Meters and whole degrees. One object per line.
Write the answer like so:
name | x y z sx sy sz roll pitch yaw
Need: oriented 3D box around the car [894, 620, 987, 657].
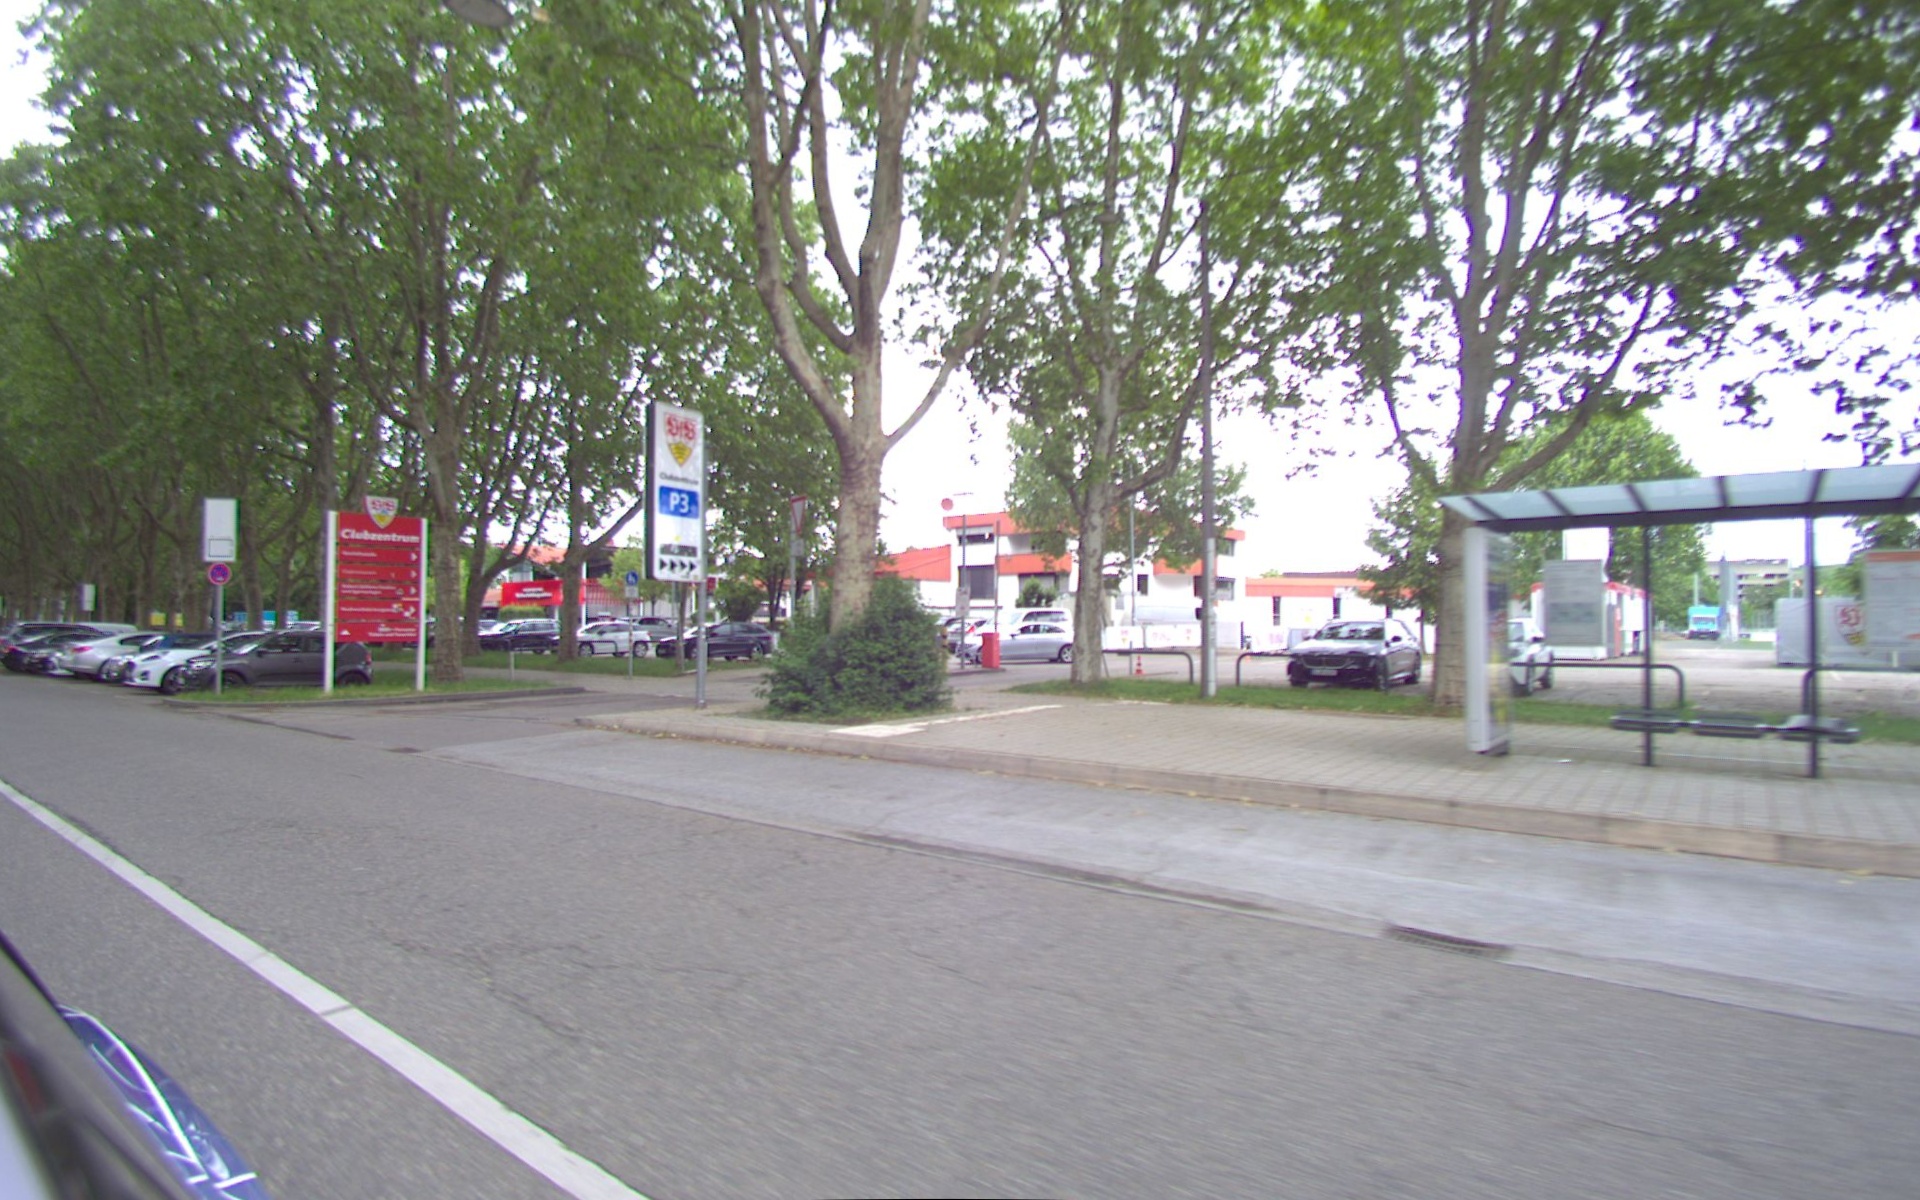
car | -0.820 1.699 45.580 1.957 1.560 4.279 -1 -1 38

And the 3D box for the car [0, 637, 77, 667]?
car | -44.220 2.417 47.063 1.857 1.377 4.420 -2 -5 38

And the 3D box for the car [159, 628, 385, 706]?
car | -15.582 1.440 23.066 1.804 1.552 3.952 -1 -1 41

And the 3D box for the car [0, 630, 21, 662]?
car | -52.397 2.417 53.387 1.749 1.721 3.893 -2 -4 38

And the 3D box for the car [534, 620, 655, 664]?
car | -15.181 1.702 42.172 2.129 1.722 4.279 -1 -1 38

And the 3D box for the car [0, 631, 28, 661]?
car | -46.939 2.162 47.877 1.701 1.409 3.893 -2 -4 38

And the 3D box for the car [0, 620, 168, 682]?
car | -28.185 1.647 32.257 1.866 1.824 4.274 -2 -4 39

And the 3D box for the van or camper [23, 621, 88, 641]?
van or camper | -103.246 3.529 115.609 2.241 2.115 5.236 -1 -1 37

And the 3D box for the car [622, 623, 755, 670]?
car | -9.892 1.650 37.143 2.201 1.560 4.279 -1 -1 38

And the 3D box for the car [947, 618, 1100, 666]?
car | 2.137 1.425 35.042 4.897 1.564 2.105 0 -1 -10

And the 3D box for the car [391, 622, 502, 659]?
car | -26.131 2.027 51.599 2.293 1.739 4.508 -1 -1 38

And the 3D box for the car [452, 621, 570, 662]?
car | -20.835 1.886 47.103 2.293 1.775 4.475 -1 -1 38

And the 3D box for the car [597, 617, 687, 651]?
car | -18.654 1.965 59.561 2.297 1.869 4.527 -1 -1 44

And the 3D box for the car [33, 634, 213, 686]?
car | -25.524 1.779 30.952 1.883 1.415 3.949 -1 -1 38

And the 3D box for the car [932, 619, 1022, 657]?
car | 0.798 1.615 43.915 1.787 1.560 4.177 -1 -1 38

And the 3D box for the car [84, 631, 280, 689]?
car | -21.230 1.581 27.743 1.860 1.416 3.947 -1 -1 39

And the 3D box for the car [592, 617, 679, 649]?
car | -19.816 2.005 61.894 2.297 1.869 4.527 -1 -1 44

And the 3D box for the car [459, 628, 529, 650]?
car | -32.338 2.695 70.260 1.997 1.438 3.949 -1 -1 37

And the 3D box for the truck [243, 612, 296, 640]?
truck | -70.139 2.645 102.881 2.373 2.737 3.949 -1 -1 38

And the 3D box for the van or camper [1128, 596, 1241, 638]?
van or camper | 11.333 0.859 51.316 5.296 2.029 1.974 -1 -1 39

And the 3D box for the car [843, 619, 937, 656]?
car | -3.189 1.691 46.676 1.957 1.560 4.279 -1 -1 38

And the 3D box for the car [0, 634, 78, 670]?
car | -39.218 2.123 41.846 1.755 1.432 3.935 -2 -5 42

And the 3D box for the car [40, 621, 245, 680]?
car | -23.531 1.481 29.258 1.905 1.560 4.223 -1 -4 37

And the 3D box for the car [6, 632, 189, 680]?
car | -27.531 1.743 32.410 1.964 1.364 4.150 -1 -1 37

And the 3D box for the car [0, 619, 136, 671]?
car | -33.221 1.676 37.108 1.863 1.824 4.279 -2 -4 35

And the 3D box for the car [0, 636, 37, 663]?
car | -50.113 2.537 51.816 1.824 1.375 3.893 -2 -4 38

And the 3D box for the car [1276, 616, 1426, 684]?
car | 8.664 1.036 22.258 1.999 1.334 3.948 -1 -1 39

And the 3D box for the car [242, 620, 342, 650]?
car | -42.218 2.161 64.049 2.179 1.810 4.896 -1 -1 37

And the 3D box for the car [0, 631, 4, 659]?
car | -54.448 2.423 54.675 1.727 1.528 3.890 -2 -4 40

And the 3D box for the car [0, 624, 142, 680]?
car | -31.460 1.758 35.285 2.035 1.809 4.274 -1 -1 39

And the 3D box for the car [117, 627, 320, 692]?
car | -19.243 1.480 26.394 1.830 1.505 3.954 -1 -1 39

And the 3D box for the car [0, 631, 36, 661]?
car | -48.617 2.262 49.753 1.701 1.493 4.420 -2 -4 38

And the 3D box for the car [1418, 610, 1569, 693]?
car | 11.084 0.988 20.909 2.000 1.534 3.947 -1 -1 40

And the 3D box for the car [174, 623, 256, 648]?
car | -55.475 2.698 75.443 1.997 1.734 4.510 -1 -4 37

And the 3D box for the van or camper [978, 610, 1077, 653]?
van or camper | 2.900 1.283 42.696 2.129 1.722 4.279 -1 -1 38

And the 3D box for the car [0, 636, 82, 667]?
car | -42.376 2.314 45.290 1.900 1.358 4.416 -2 -4 41

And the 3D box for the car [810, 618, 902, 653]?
car | -4.930 1.651 48.215 1.957 1.560 4.279 -1 -1 38

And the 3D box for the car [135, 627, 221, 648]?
car | -64.386 3.093 83.403 2.092 1.608 5.297 -1 -1 38

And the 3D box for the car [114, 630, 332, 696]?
car | -17.642 1.441 24.351 1.911 1.395 3.950 -1 -1 43

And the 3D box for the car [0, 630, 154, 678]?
car | -29.640 1.803 33.655 2.012 1.463 4.085 -2 -5 41

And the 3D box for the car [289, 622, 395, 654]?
car | -36.120 2.218 59.259 2.179 1.810 4.896 -2 -2 37
